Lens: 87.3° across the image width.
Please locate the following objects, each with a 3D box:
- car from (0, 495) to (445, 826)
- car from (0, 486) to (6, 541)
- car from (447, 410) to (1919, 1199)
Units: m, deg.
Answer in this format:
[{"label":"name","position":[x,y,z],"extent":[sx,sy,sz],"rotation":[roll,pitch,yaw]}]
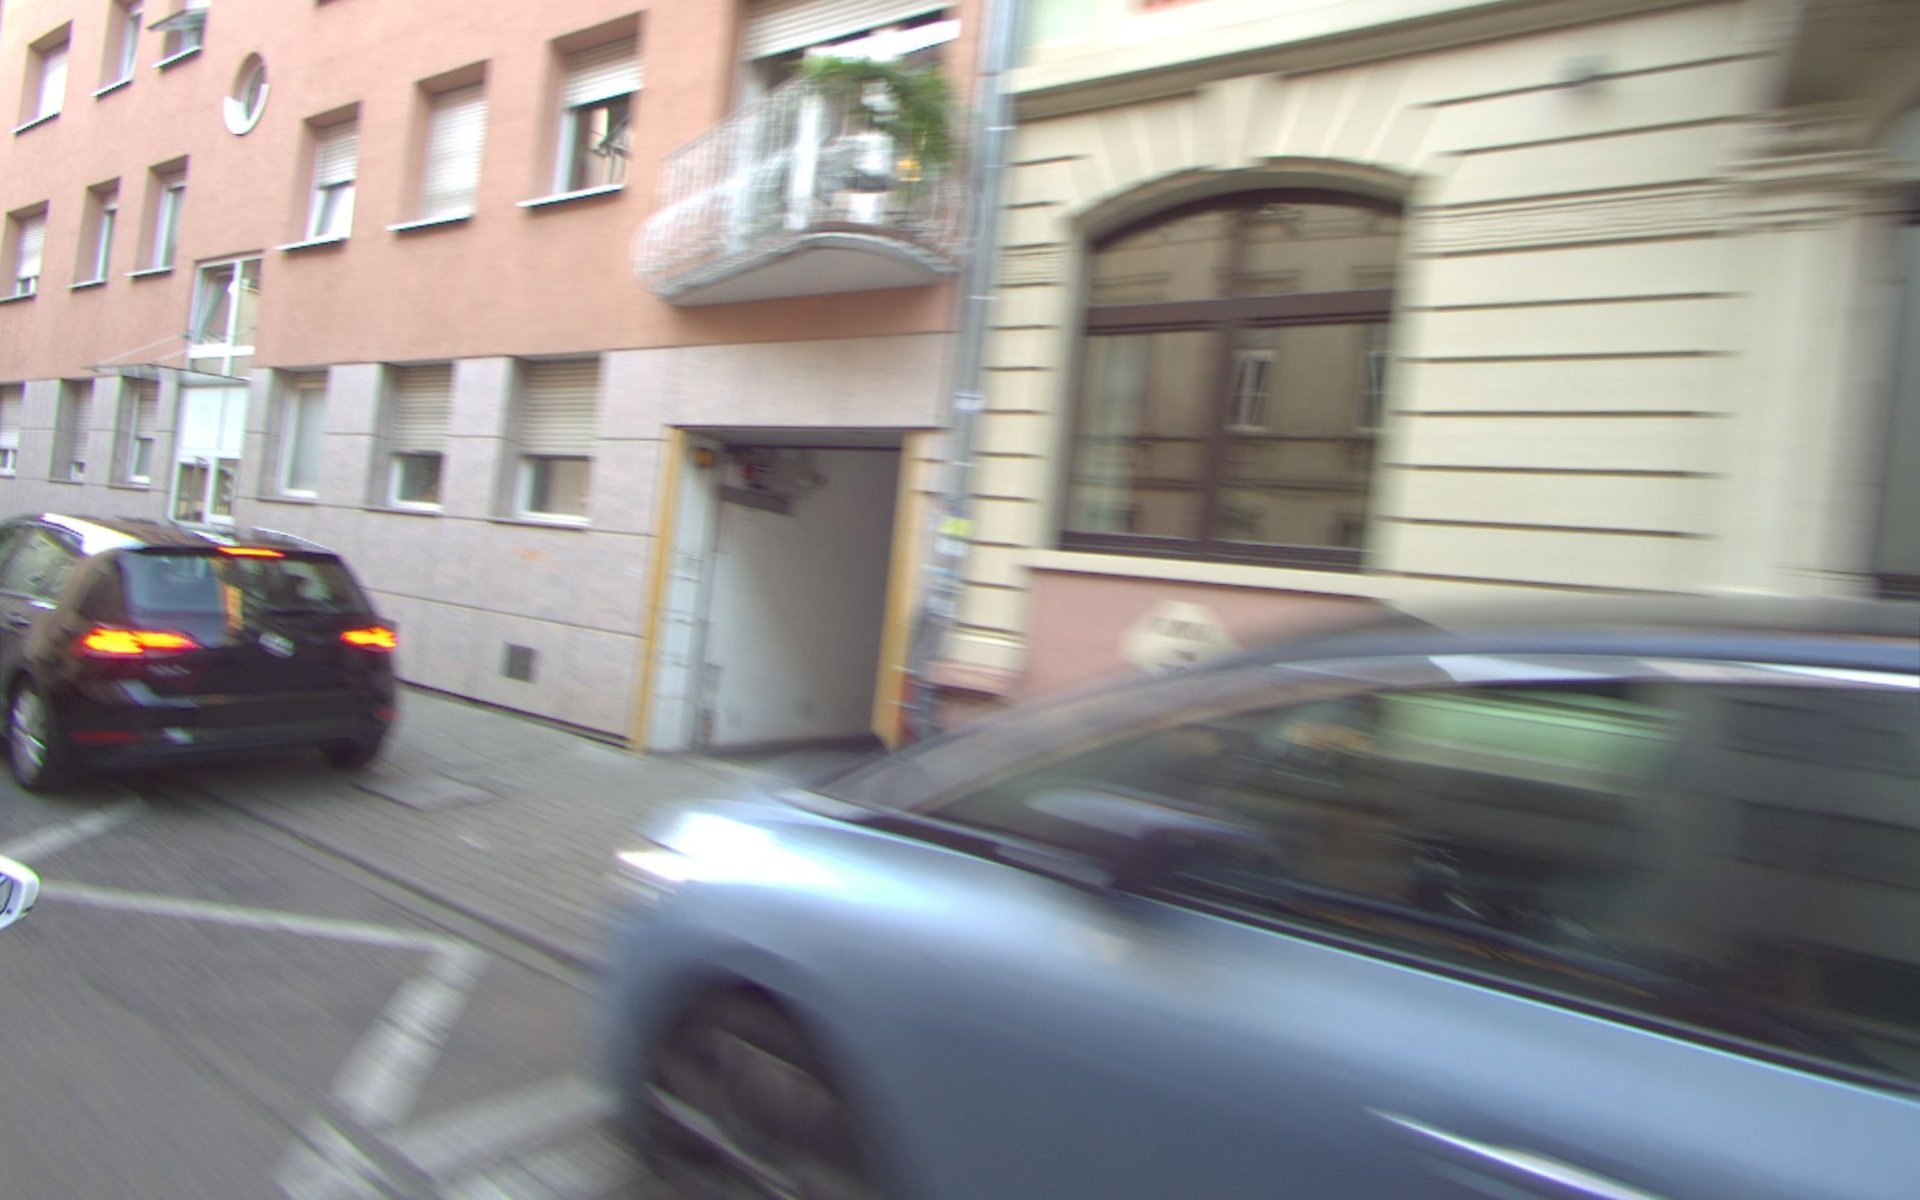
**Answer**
[{"label":"car","position":[-5.337,0.178,6.423],"extent":[4.063,1.475,1.692],"rotation":[7,-1,32]},{"label":"car","position":[-11.509,-0.613,10.110],"extent":[4.212,1.532,1.692],"rotation":[7,-1,32]},{"label":"car","position":[1.051,0.710,1.980],"extent":[4.041,1.762,1.692],"rotation":[7,-1,32]}]
